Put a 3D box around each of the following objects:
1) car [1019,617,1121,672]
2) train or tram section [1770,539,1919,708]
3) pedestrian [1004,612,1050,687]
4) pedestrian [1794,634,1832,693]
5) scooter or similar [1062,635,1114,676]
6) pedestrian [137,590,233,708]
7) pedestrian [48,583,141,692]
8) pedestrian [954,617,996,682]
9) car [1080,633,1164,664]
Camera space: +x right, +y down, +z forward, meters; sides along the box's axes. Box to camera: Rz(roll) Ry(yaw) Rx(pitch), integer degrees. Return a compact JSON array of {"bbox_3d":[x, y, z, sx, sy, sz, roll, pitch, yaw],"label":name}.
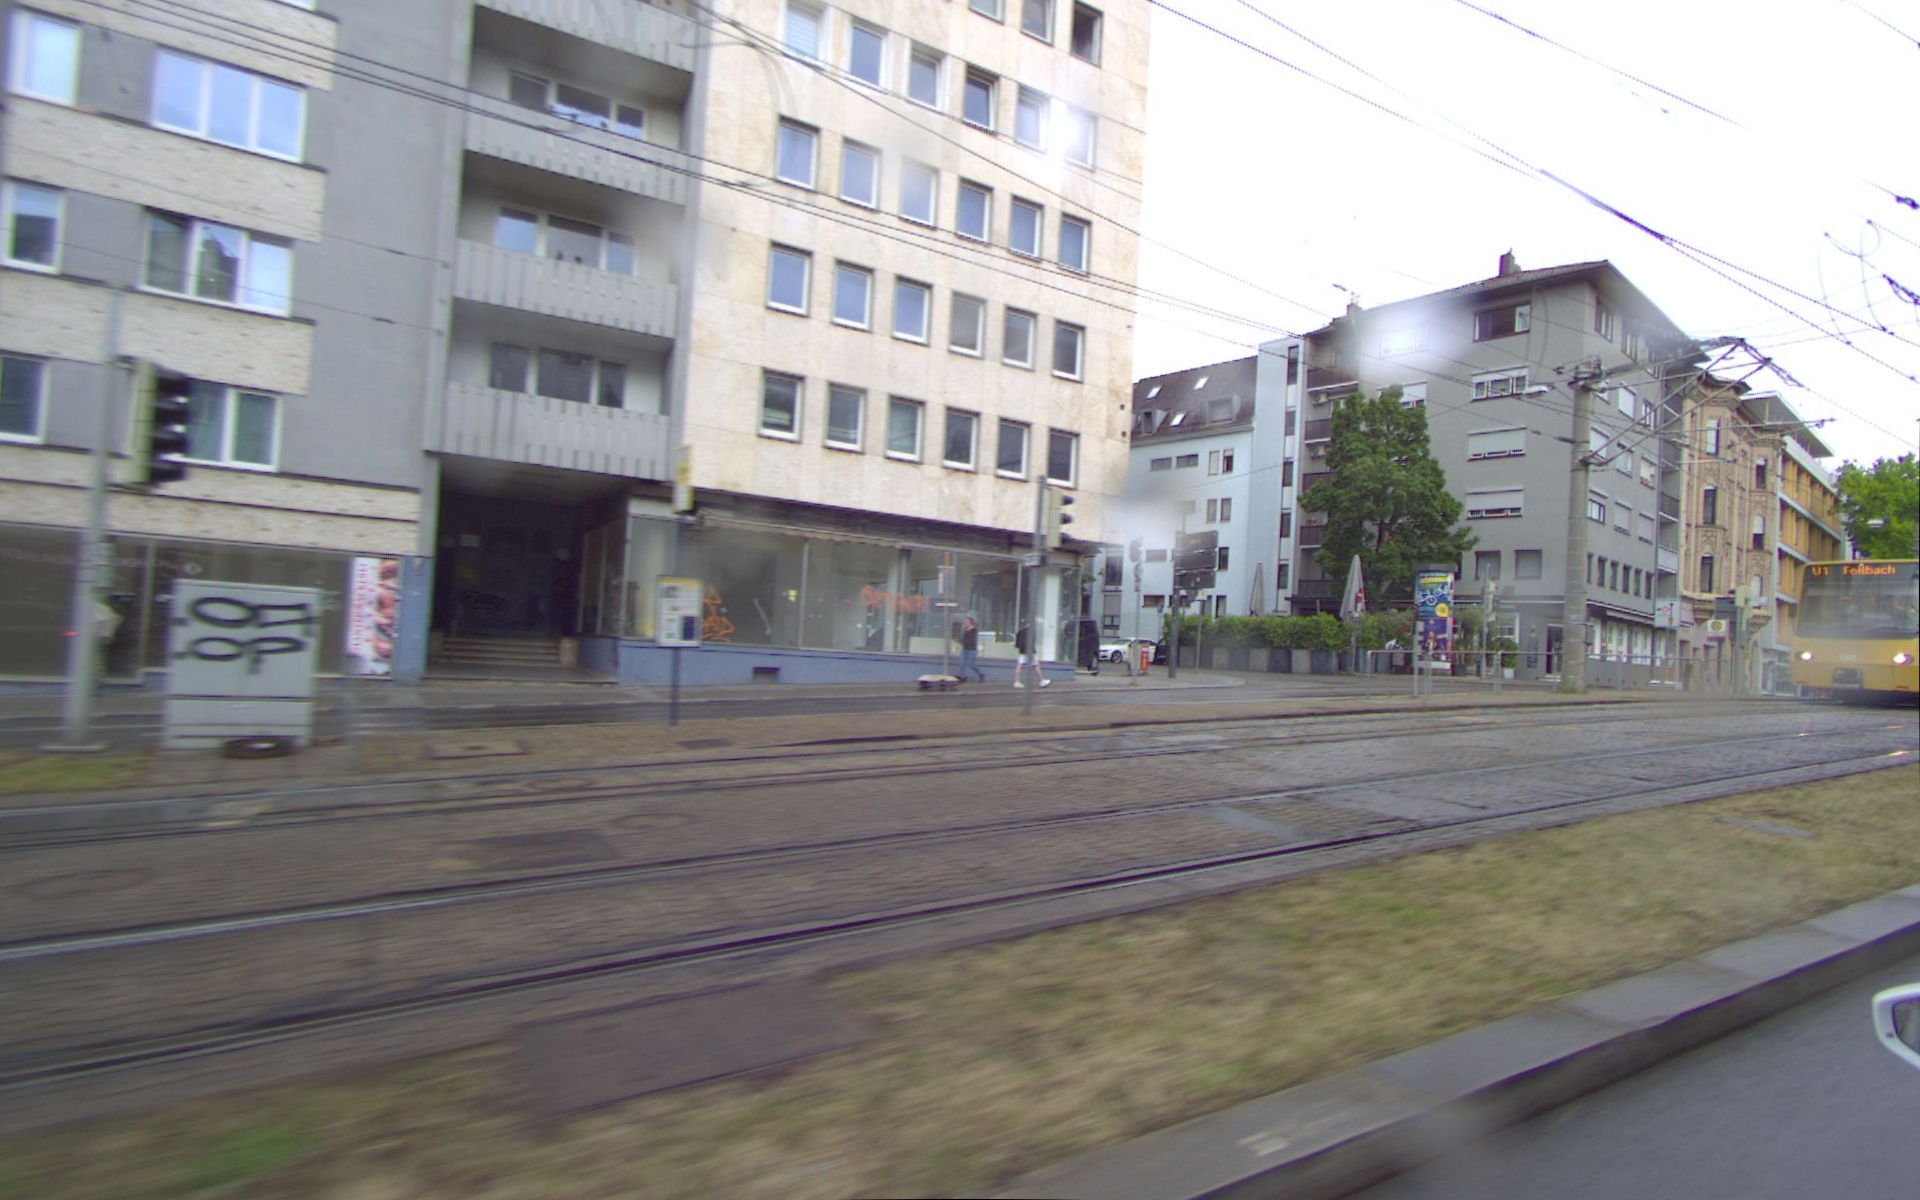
[{"bbox_3d":[4.199,1.627,37.503,1.963,1.853,5.227,1,-1,28],"label":"car"},{"bbox_3d":[28.500,1.049,28.513,18.767,3.745,2.731,4,-2,-33],"label":"train or tram section"},{"bbox_3d":[1.599,1.179,23.977,0.899,1.761,0.593,2,-1,-32],"label":"pedestrian"},{"bbox_3d":[26.782,1.991,31.529,0.689,1.814,0.728,1,-1,-32],"label":"pedestrian"},{"bbox_3d":[3.869,1.664,30.298,1.459,1.161,0.566,1,-1,20],"label":"scooter or similar"},{"bbox_3d":[-11.682,0.734,15.185,0.987,1.703,0.883,2,-1,-30],"label":"pedestrian"},{"bbox_3d":[-13.906,0.599,16.165,0.987,1.703,0.675,2,-1,-32],"label":"pedestrian"},{"bbox_3d":[0.363,1.209,24.670,0.768,1.569,0.674,2,-1,-31],"label":"pedestrian"},{"bbox_3d":[8.566,2.566,53.152,3.945,1.528,1.981,2,-1,-25],"label":"car"}]
